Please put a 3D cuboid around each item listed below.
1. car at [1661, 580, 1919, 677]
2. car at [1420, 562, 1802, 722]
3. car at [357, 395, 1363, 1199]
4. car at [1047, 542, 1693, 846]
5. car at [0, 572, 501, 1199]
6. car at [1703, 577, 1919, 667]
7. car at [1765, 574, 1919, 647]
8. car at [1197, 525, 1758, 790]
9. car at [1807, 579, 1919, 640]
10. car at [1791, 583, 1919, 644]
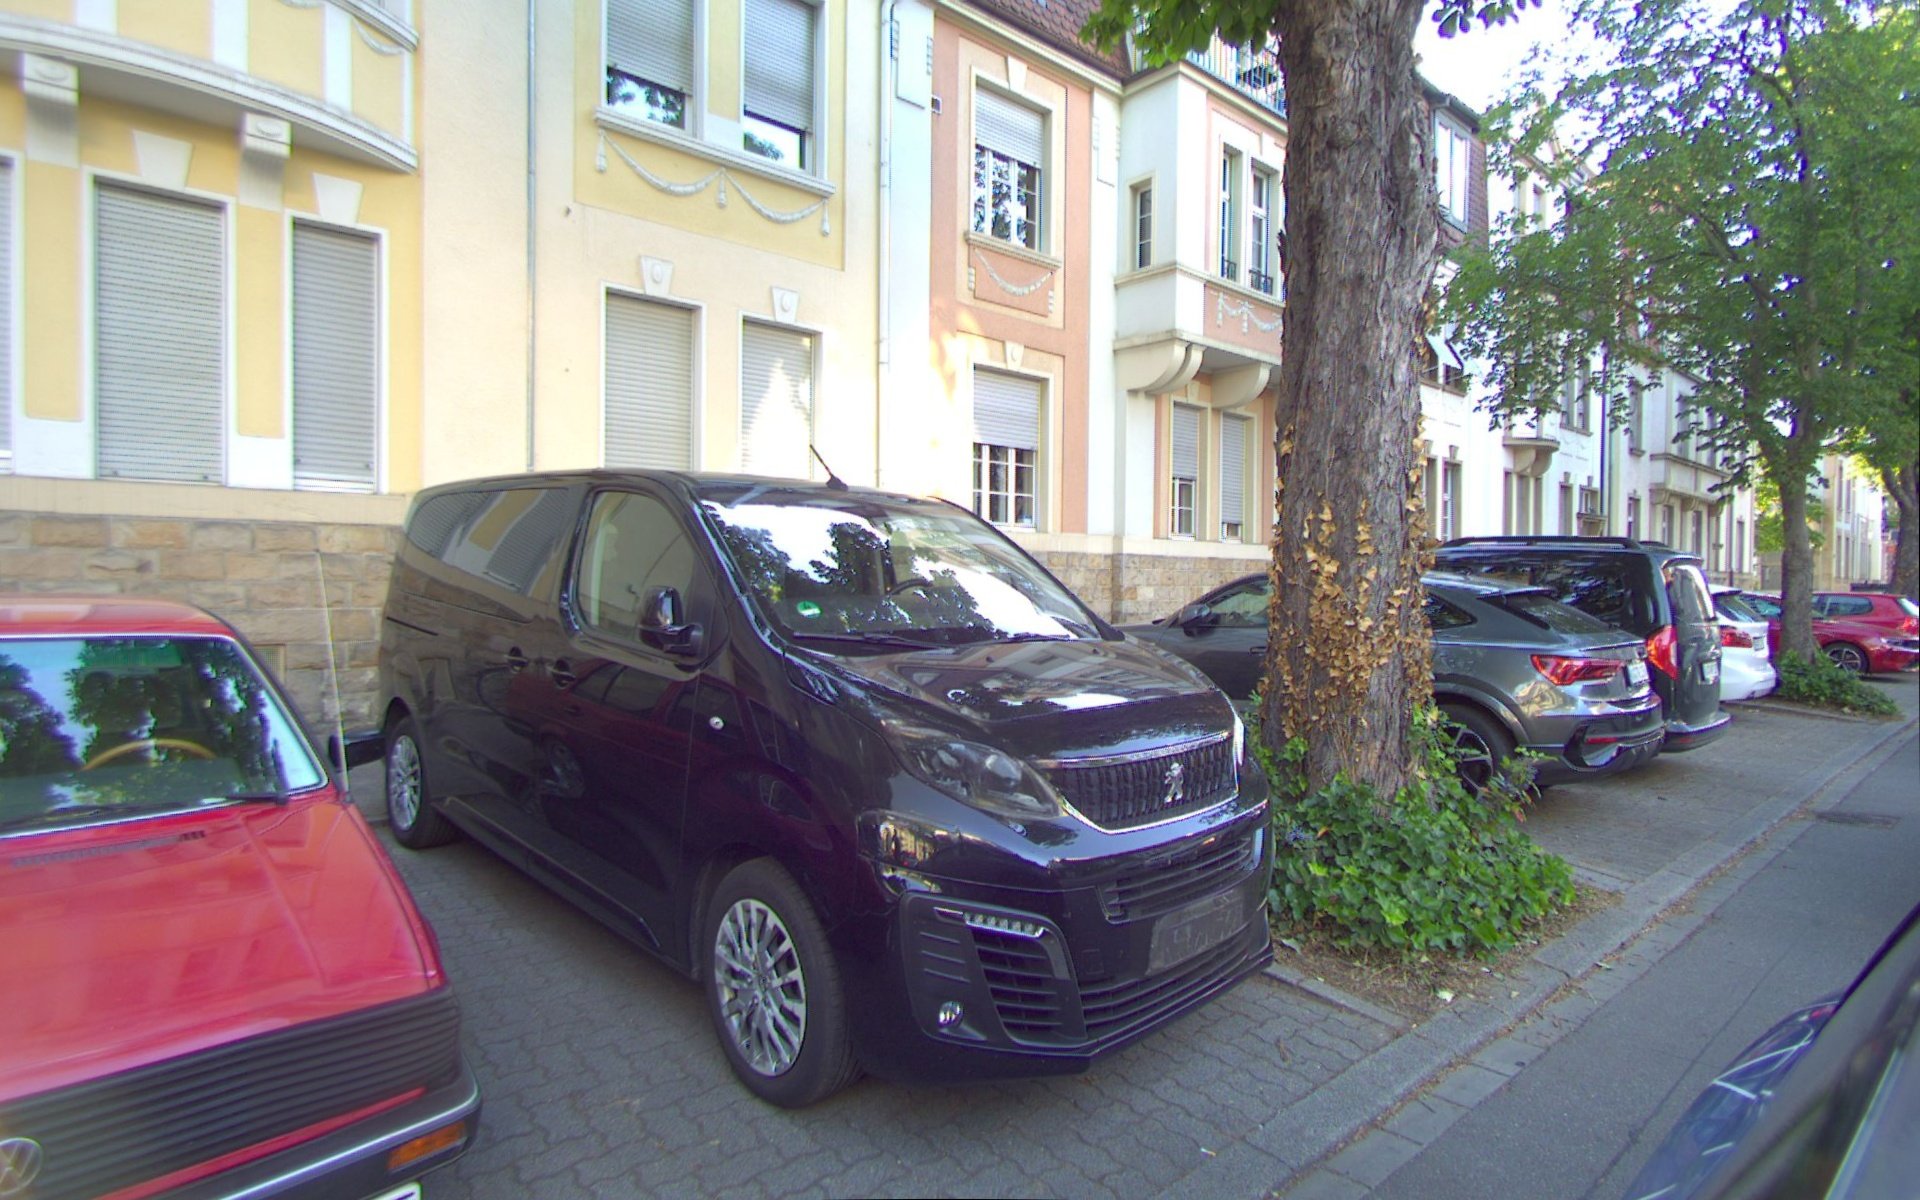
[{"bbox_3d":[14.899,0.427,18.054,1.511,1.420,3.621,0,3,-40],"label":"car"},{"bbox_3d":[7.751,0.379,12.275,1.513,1.569,3.616,-1,3,-45],"label":"car"},{"bbox_3d":[-0.992,0.347,4.523,1.851,1.846,4.825,-1,4,-44],"label":"car"},{"bbox_3d":[2.751,0.415,7.545,1.569,1.611,4.165,-1,4,-44],"label":"car"},{"bbox_3d":[-2.811,0.653,2.969,1.532,1.336,3.917,-1,4,-43],"label":"car"},{"bbox_3d":[16.864,0.372,19.660,1.511,1.482,3.621,0,3,-40],"label":"car"},{"bbox_3d":[21.624,0.219,24.081,1.511,1.584,3.621,0,2,-40],"label":"car"},{"bbox_3d":[4.374,0.277,9.075,1.569,1.849,4.165,-1,4,-44],"label":"car"},{"bbox_3d":[25.944,0.256,27.984,1.511,1.584,3.621,0,2,-40],"label":"car"},{"bbox_3d":[23.965,0.337,26.137,1.511,1.420,3.621,0,3,-40],"label":"car"}]
